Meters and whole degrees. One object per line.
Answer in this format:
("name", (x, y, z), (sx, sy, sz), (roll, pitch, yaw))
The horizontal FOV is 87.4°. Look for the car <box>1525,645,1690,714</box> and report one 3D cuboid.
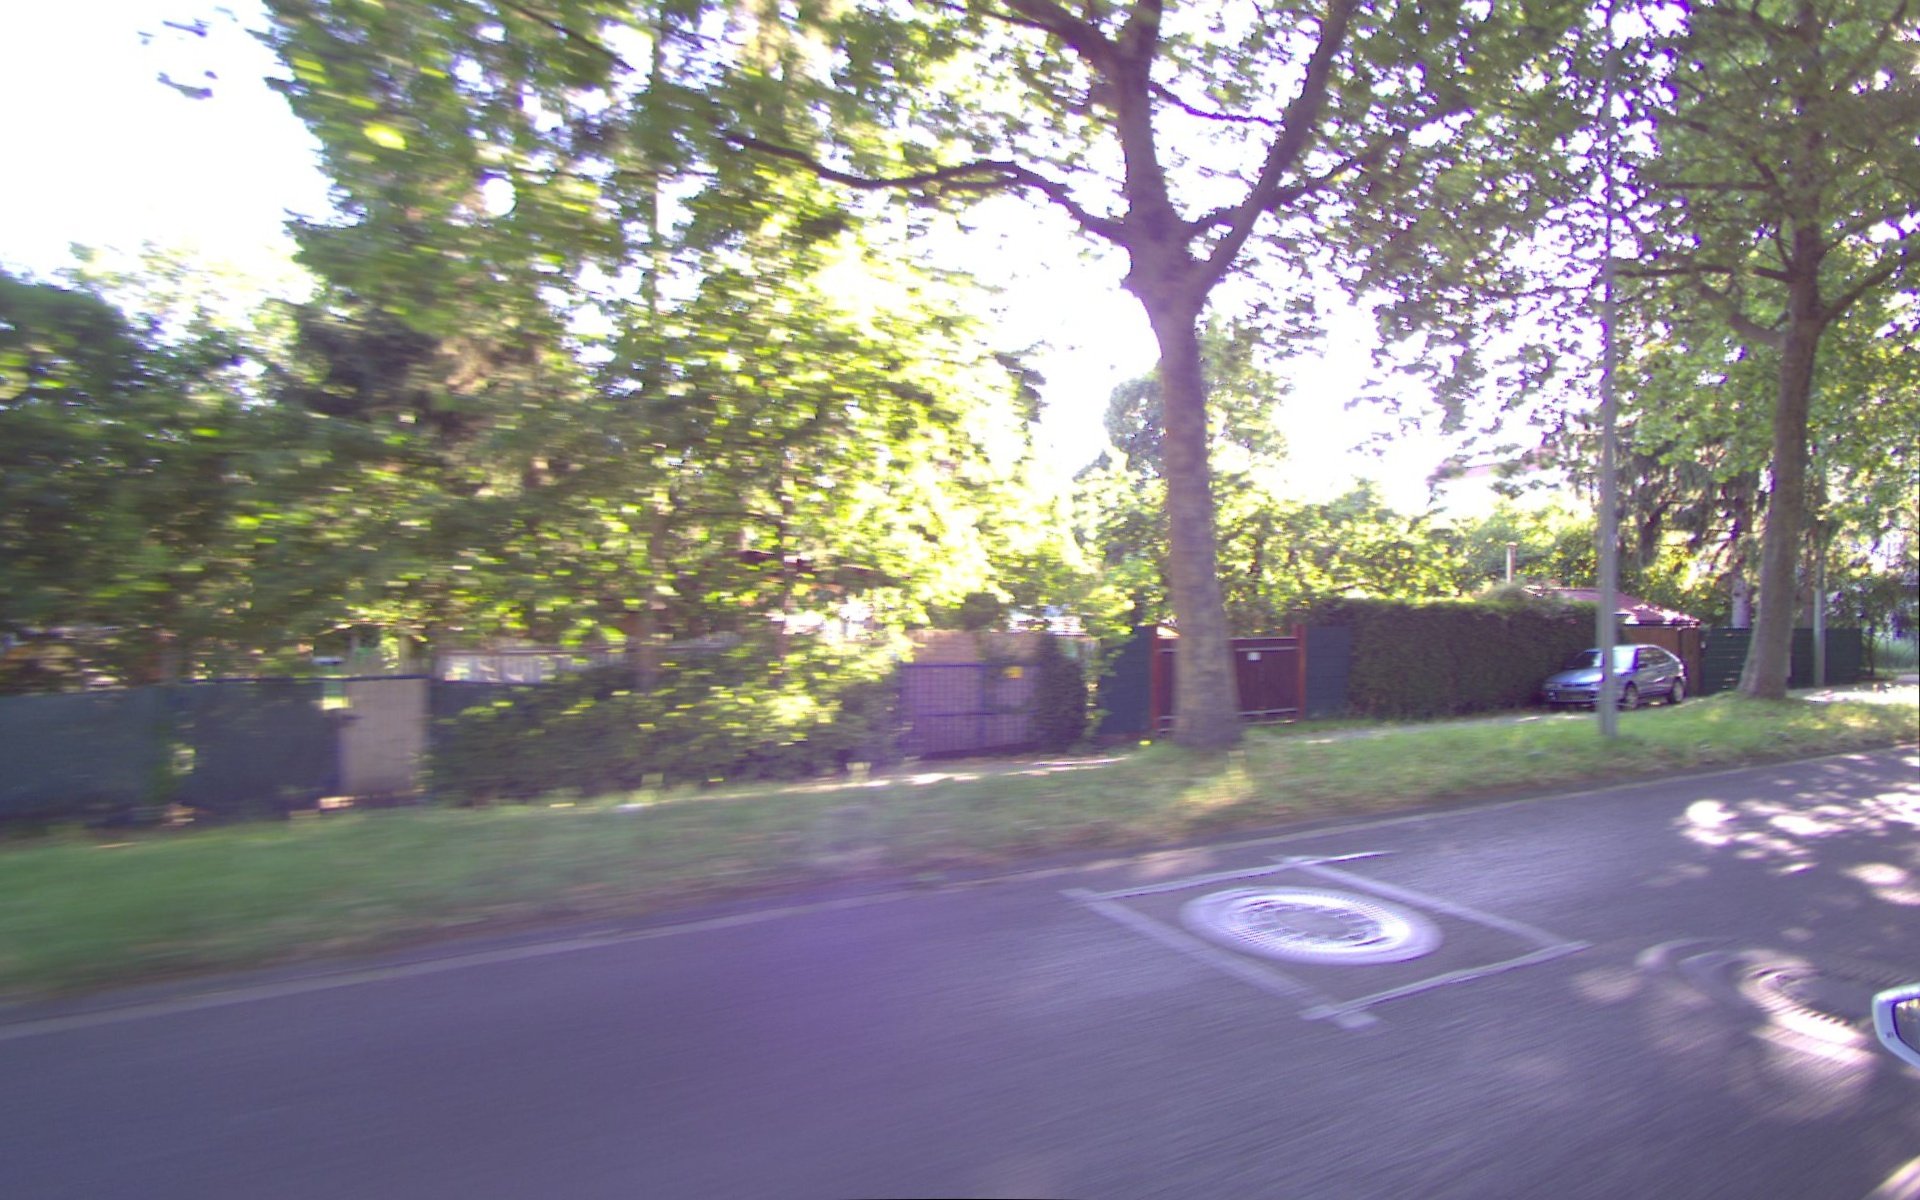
("car", (14.916, 1.776, 23.105), (3.957, 1.322, 1.742), (0, -1, -33))
